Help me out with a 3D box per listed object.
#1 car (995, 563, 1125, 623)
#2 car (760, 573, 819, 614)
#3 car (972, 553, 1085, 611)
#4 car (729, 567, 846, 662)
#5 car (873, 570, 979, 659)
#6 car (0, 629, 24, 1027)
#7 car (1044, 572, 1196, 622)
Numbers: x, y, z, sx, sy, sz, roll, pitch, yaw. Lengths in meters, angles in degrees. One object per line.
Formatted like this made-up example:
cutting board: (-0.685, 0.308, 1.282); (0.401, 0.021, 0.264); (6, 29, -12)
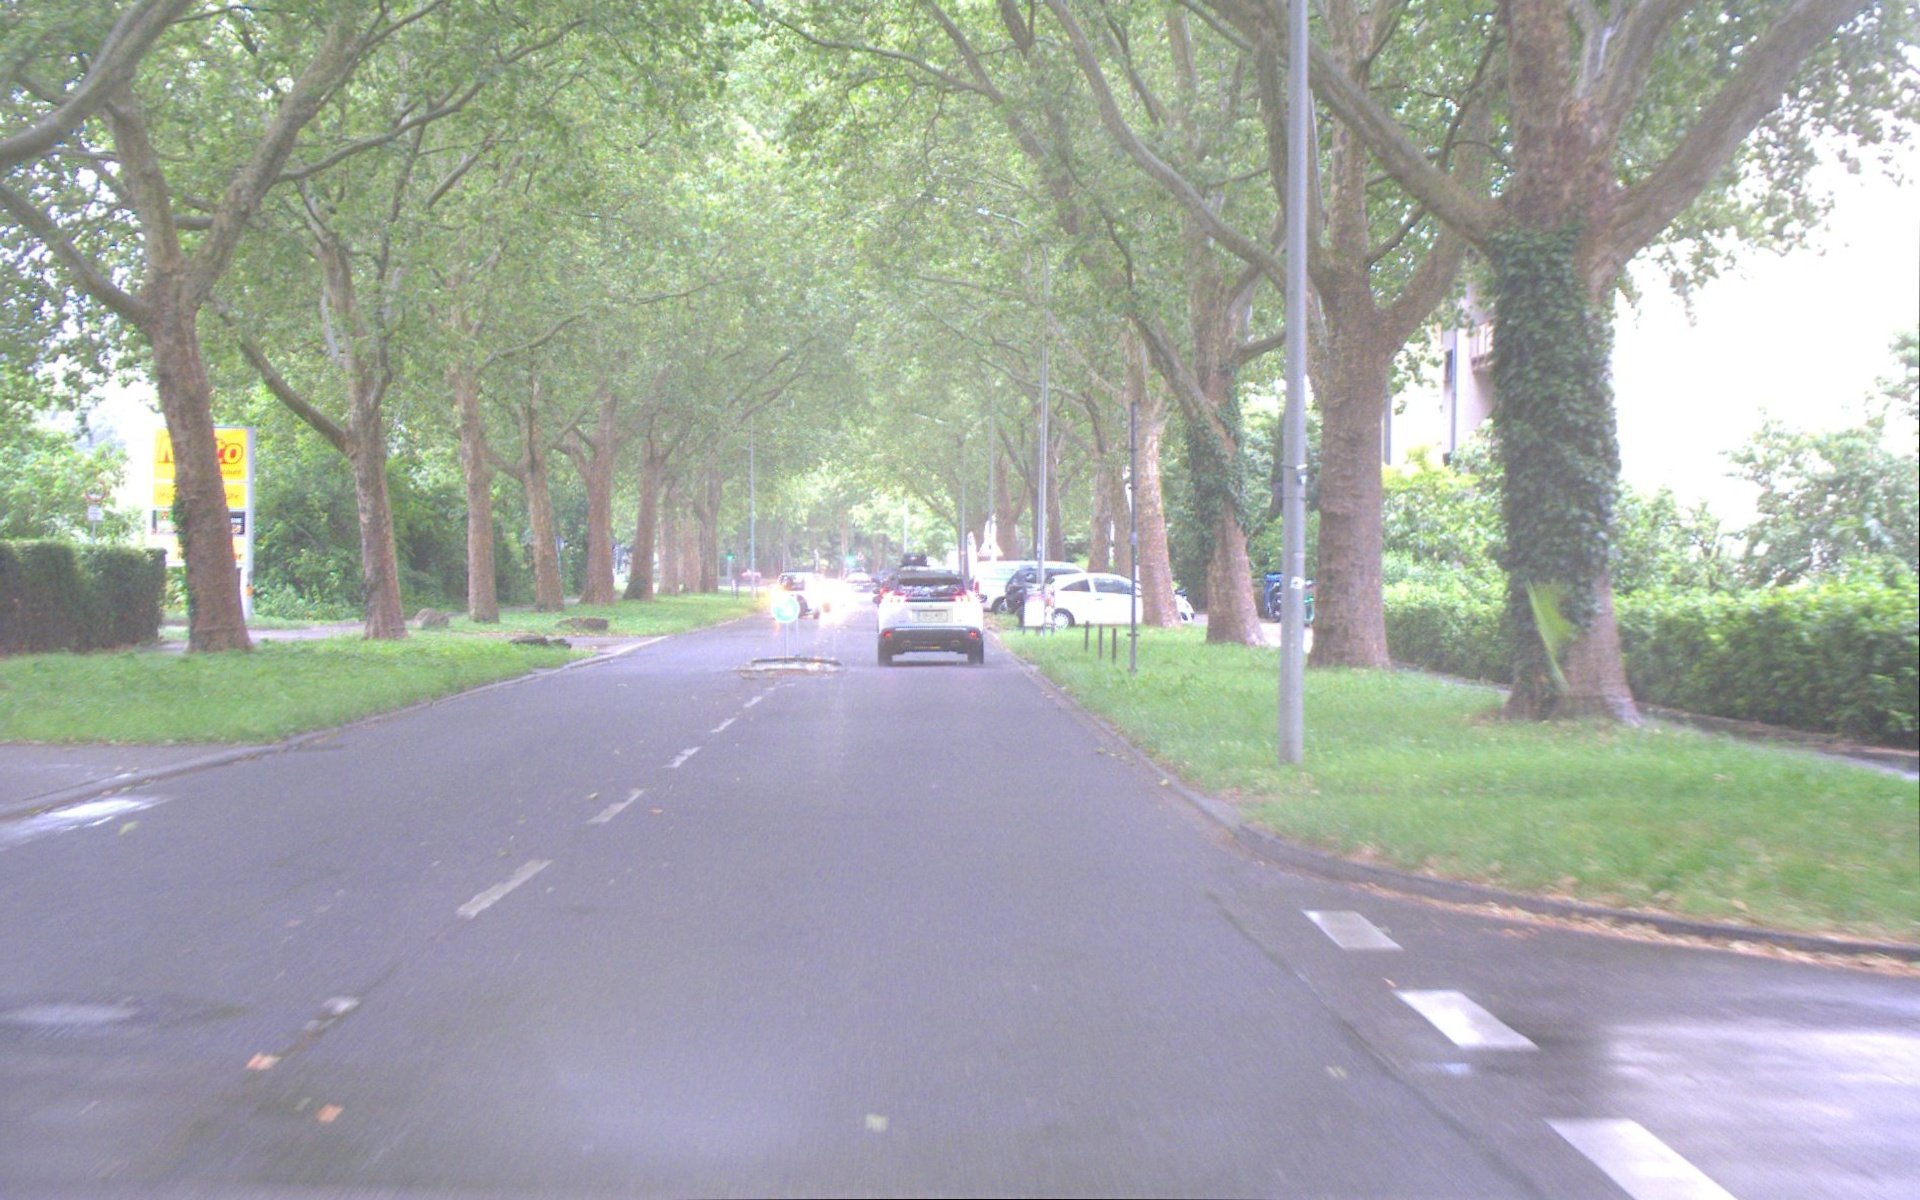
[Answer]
car: (2.826, -0.195, 97.650); (3.546, 1.640, 1.712); (-1, 1, -2)
car: (-5.623, -0.239, 113.932); (1.720, 1.250, 4.000); (2, 1, 0)
car: (2.222, -0.591, 111.760); (3.546, 1.835, 1.712); (-1, 1, -2)
car: (-2.701, 0.203, 54.457); (1.706, 1.406, 3.645); (-1, 1, -1)
car: (-0.578, 0.228, 57.986); (1.706, 1.406, 3.645); (-1, 1, -1)
car: (-3.862, 0.755, 9.258); (1.706, 1.246, 3.645); (-1, 1, -1)
car: (3.890, -0.091, 83.984); (3.546, 1.151, 1.712); (-1, 1, -3)
